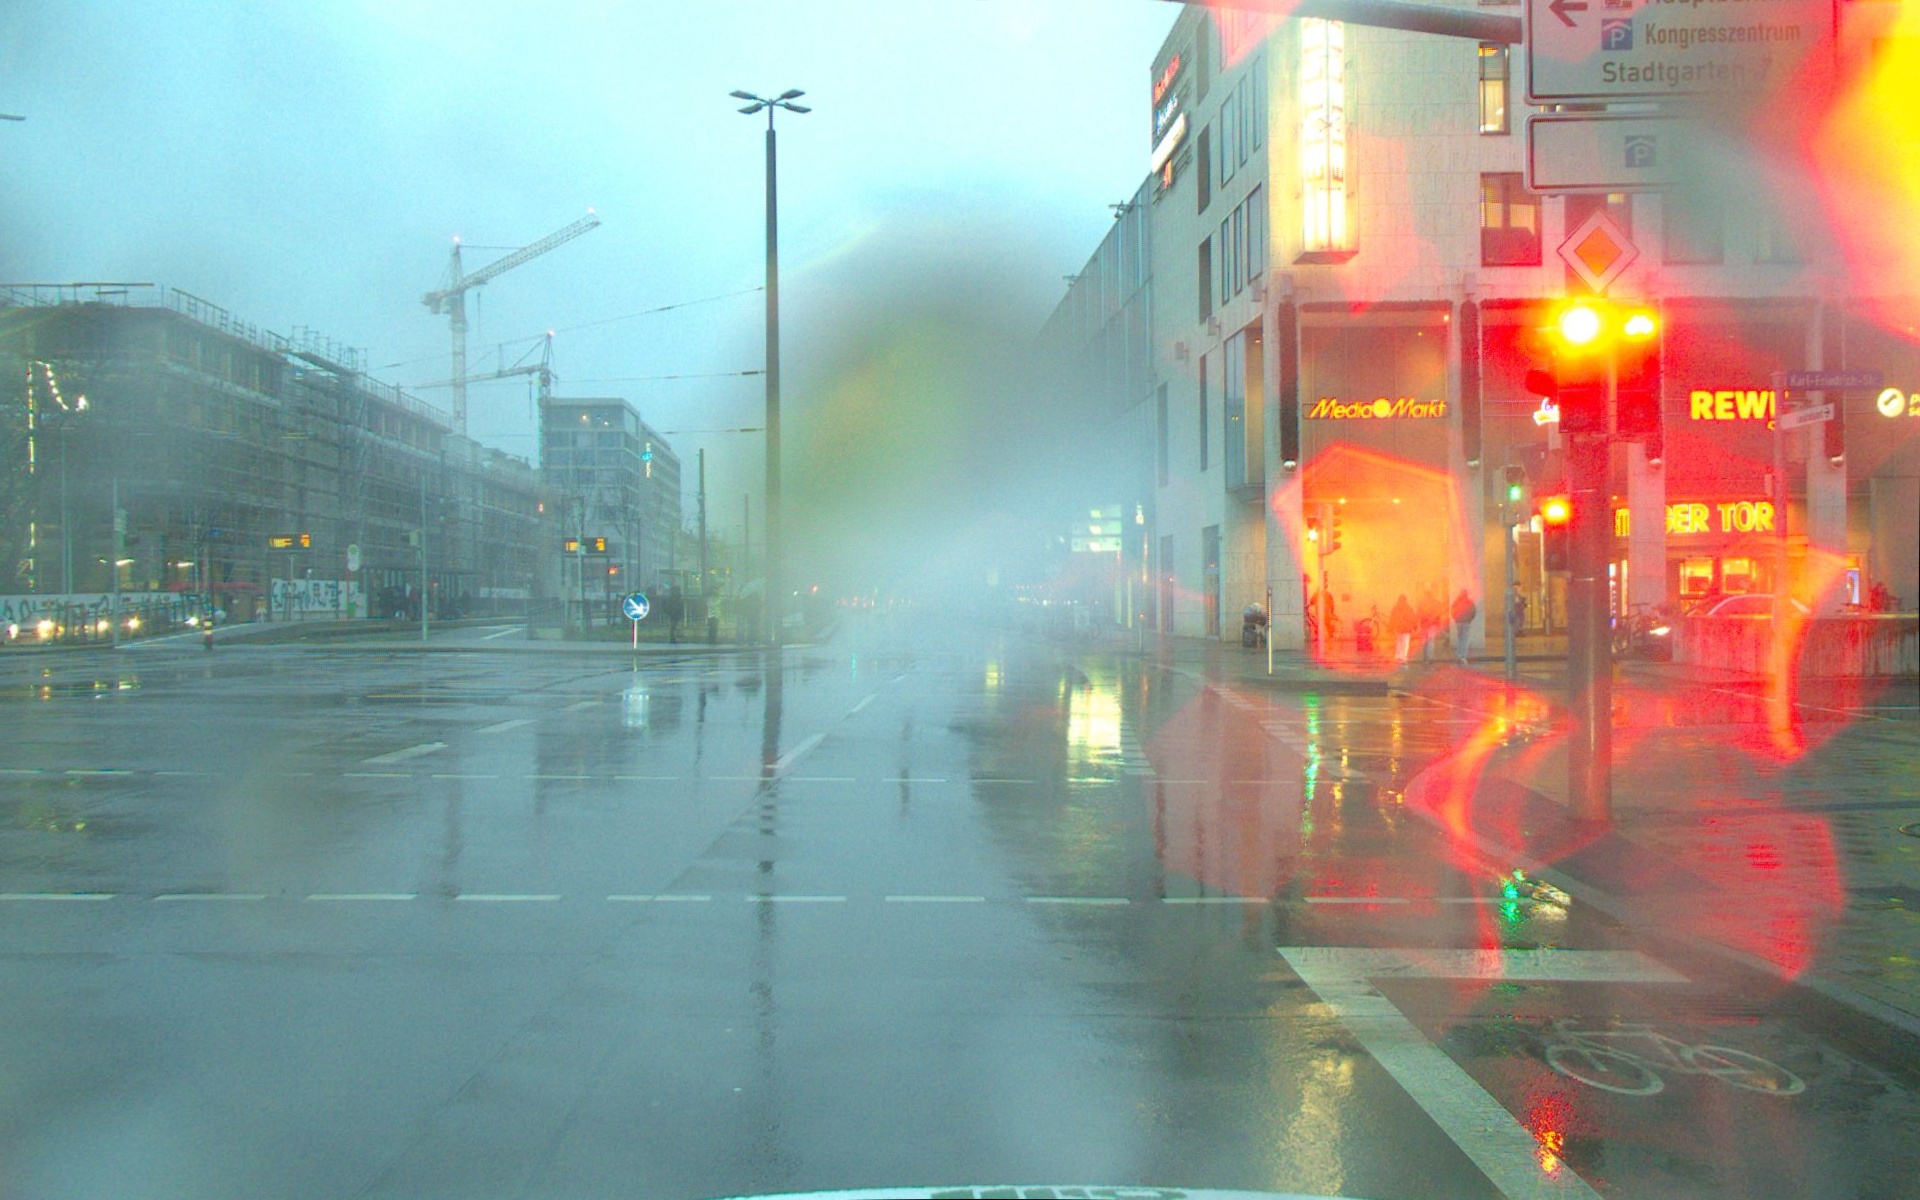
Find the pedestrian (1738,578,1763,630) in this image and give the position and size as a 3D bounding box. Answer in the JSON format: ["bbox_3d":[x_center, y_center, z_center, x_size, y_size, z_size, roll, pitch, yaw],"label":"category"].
[{"bbox_3d":[25.968,0.135,54.333,0.603,1.714,0.366,-1,0,-5],"label":"pedestrian"}]

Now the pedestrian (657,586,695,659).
[{"bbox_3d":[-8.133,0.640,47.287,0.771,2.049,0.724,0,-1,41],"label":"pedestrian"}]

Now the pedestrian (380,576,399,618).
[{"bbox_3d":[-26.517,-0.145,76.868,0.684,1.913,0.553,1,-1,-2],"label":"pedestrian"}]

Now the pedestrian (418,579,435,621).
[{"bbox_3d":[-25.941,0.017,80.401,0.559,2.002,0.664,2,-1,-7],"label":"pedestrian"}]

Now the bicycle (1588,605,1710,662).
[{"bbox_3d":[17.207,0.836,41.360,2.659,1.383,0.957,-1,-1,-4],"label":"bicycle"}]

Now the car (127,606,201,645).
[{"bbox_3d":[-38.485,1.198,80.028,1.955,1.822,3.995,1,0,-6],"label":"car"}]

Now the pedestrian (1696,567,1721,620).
[{"bbox_3d":[25.386,-0.216,56.111,0.721,1.748,0.738,-1,-1,27],"label":"pedestrian"}]

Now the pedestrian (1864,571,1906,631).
[{"bbox_3d":[26.876,0.025,48.050,0.875,1.714,0.528,-1,-1,-1],"label":"pedestrian"}]

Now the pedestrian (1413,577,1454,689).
[{"bbox_3d":[10.677,0.730,37.299,0.675,2.484,0.758,1,-1,-1],"label":"pedestrian"}]

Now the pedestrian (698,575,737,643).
[{"bbox_3d":[-6.808,0.251,46.378,0.813,1.863,0.777,1,-1,-31],"label":"pedestrian"}]

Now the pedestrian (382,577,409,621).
[{"bbox_3d":[-26.652,-0.030,78.128,0.923,2.049,1.093,1,-1,-3],"label":"pedestrian"}]

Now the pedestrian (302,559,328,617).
[{"bbox_3d":[-26.648,-0.477,68.335,0.750,2.364,0.762,1,-2,-1],"label":"pedestrian"}]

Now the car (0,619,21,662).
[{"bbox_3d":[-36.400,1.514,60.549,2.038,1.557,4.604,-1,0,-10],"label":"car"}]

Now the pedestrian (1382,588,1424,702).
[{"bbox_3d":[9.813,0.995,36.674,0.700,2.484,0.758,1,-1,-1],"label":"pedestrian"}]

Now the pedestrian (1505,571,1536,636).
[{"bbox_3d":[18.031,0.114,53.214,0.828,2.049,0.698,-1,0,8],"label":"pedestrian"}]

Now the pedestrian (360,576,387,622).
[{"bbox_3d":[-26.797,-0.043,75.616,0.924,2.049,1.092,1,-1,-7],"label":"pedestrian"}]

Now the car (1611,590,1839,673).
[{"bbox_3d":[16.170,0.645,35.096,3.905,1.646,2.000,1,0,0],"label":"car"}]

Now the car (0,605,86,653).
[{"bbox_3d":[-37.223,1.144,67.026,1.830,1.860,3.993,1,0,-8],"label":"car"}]

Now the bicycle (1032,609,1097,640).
[{"bbox_3d":[3.943,0.931,62.382,2.376,1.118,0.711,-1,-1,-3],"label":"bicycle"}]

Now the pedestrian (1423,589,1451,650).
[{"bbox_3d":[13.893,0.569,48.173,0.624,1.739,0.573,-1,0,-2],"label":"pedestrian"}]

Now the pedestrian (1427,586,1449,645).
[{"bbox_3d":[13.903,0.456,48.098,0.476,1.692,0.457,-1,-1,30],"label":"pedestrian"}]

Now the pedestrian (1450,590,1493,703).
[{"bbox_3d":[11.458,1.025,37.030,0.679,2.491,0.791,1,-1,-1],"label":"pedestrian"}]

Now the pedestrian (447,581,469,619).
[{"bbox_3d":[-27.534,0.008,90.708,0.924,2.049,1.092,1,-1,-7],"label":"pedestrian"}]

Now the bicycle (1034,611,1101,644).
[{"bbox_3d":[3.998,1.015,61.613,2.393,1.174,0.674,-1,-1,-2],"label":"bicycle"}]

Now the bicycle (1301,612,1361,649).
[{"bbox_3d":[11.400,0.928,50.854,1.733,1.088,0.524,1,-1,-7],"label":"bicycle"}]

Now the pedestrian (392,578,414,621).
[{"bbox_3d":[-25.501,-0.036,75.731,0.750,1.931,0.762,1,-2,-1],"label":"pedestrian"}]

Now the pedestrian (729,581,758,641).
[{"bbox_3d":[-6.268,0.320,47.871,0.601,1.715,0.575,0,-1,41],"label":"pedestrian"}]

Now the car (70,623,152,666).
[{"bbox_3d":[-38.173,1.966,74.477,1.955,1.822,3.995,1,0,-6],"label":"car"}]

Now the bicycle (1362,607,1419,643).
[{"bbox_3d":[13.284,0.779,51.020,1.614,1.088,0.524,1,-1,-5],"label":"bicycle"}]

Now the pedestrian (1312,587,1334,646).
[{"bbox_3d":[11.004,0.506,50.207,0.587,1.775,0.525,1,-1,7],"label":"pedestrian"}]
